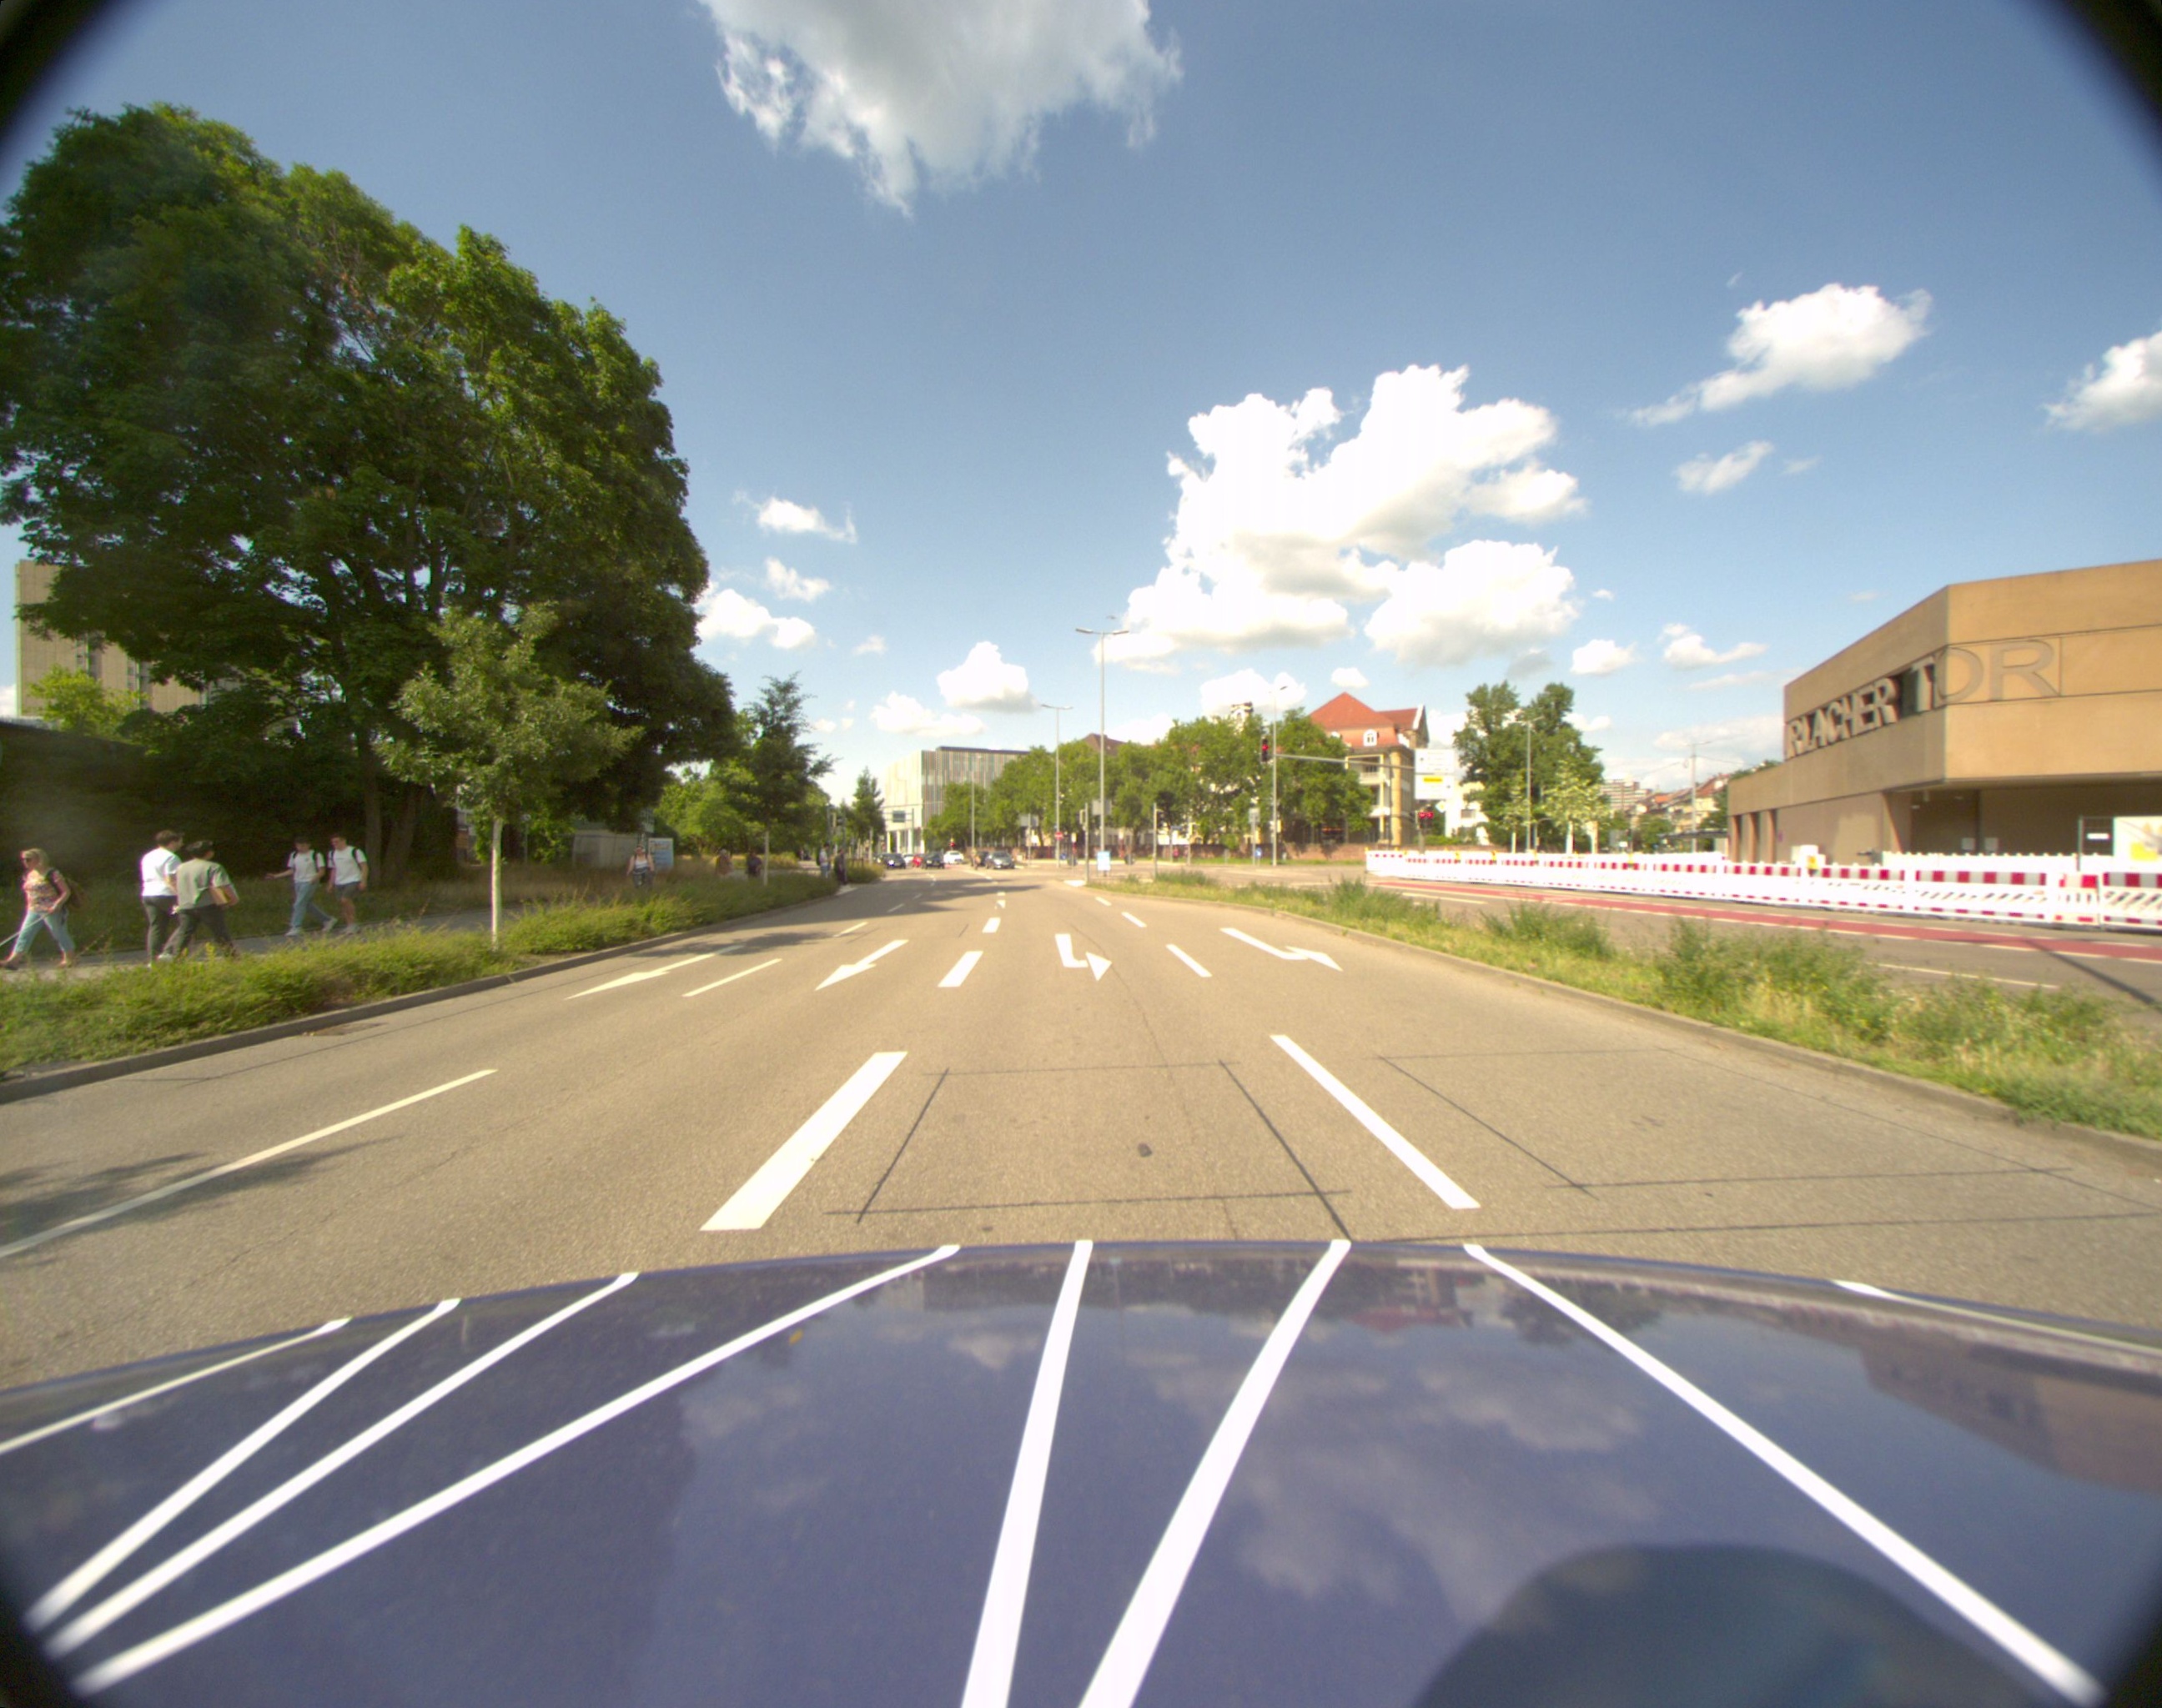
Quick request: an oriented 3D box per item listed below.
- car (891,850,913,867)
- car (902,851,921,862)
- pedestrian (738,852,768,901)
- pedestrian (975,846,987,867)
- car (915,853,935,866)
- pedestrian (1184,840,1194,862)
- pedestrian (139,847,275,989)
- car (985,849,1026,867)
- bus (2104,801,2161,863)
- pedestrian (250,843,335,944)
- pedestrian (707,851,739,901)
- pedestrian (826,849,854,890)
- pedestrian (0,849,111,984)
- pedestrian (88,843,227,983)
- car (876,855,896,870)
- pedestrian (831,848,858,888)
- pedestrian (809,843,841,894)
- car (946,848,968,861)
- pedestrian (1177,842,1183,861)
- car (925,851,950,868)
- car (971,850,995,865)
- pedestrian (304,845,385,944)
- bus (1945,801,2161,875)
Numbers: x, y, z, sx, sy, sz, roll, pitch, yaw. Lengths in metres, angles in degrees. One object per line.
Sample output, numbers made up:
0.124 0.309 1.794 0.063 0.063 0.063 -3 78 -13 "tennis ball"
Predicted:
-16.501 0.417 69.939 1.828 1.455 3.995 -1 1 -14 "car"
-18.733 0.211 84.046 1.910 1.127 4.097 -1 1 -13 "car"
-11.878 0.801 27.571 0.768 1.725 0.718 -2 2 -9 "pedestrian"
-8.134 0.213 61.696 0.739 1.704 0.874 -3 2 -23 "pedestrian"
-15.478 0.529 75.204 1.599 1.127 3.623 -1 1 -17 "car"
9.724 -0.282 68.403 0.582 1.983 0.621 -3 2 -28 "pedestrian"
-11.306 0.796 9.868 0.744 1.744 0.889 2 2 -7 "pedestrian"
-6.200 0.337 62.327 2.002 1.368 4.260 -2 1 -25 "car"
62.564 -1.228 40.120 3.598 3.611 18.908 0 1 32 "bus"
-13.912 0.674 13.430 0.616 1.690 0.889 2 2 -6 "pedestrian"
-12.709 0.775 27.005 0.768 1.725 0.718 -2 2 -9 "pedestrian"
-10.547 0.656 33.224 0.928 1.725 0.768 -2 2 -3 "pedestrian"
-13.226 0.765 9.678 0.616 1.613 0.889 2 2 -6 "pedestrian"
-12.055 0.739 9.953 0.744 1.736 0.889 2 2 -6 "pedestrian"
-19.926 0.867 77.753 1.827 1.455 3.995 -1 1 -13 "car"
-10.569 0.633 34.000 0.928 1.725 0.768 -2 2 -3 "pedestrian"
-10.300 0.555 30.643 0.965 2.002 0.768 -2 2 -3 "pedestrian"
-13.973 0.063 85.314 1.781 1.347 3.993 -2 1 -19 "car"
9.132 -0.201 69.985 0.368 1.723 0.451 -1 2 37 "pedestrian"
-12.821 0.469 67.795 1.828 1.455 3.994 -1 1 -16 "car"
-9.283 0.321 71.472 1.734 1.327 3.783 -2 1 -15 "car"
-13.189 0.702 13.630 0.616 1.690 0.889 2 2 -6 "pedestrian"
51.393 -0.780 37.779 3.467 3.165 23.822 0 1 30 "bus"
